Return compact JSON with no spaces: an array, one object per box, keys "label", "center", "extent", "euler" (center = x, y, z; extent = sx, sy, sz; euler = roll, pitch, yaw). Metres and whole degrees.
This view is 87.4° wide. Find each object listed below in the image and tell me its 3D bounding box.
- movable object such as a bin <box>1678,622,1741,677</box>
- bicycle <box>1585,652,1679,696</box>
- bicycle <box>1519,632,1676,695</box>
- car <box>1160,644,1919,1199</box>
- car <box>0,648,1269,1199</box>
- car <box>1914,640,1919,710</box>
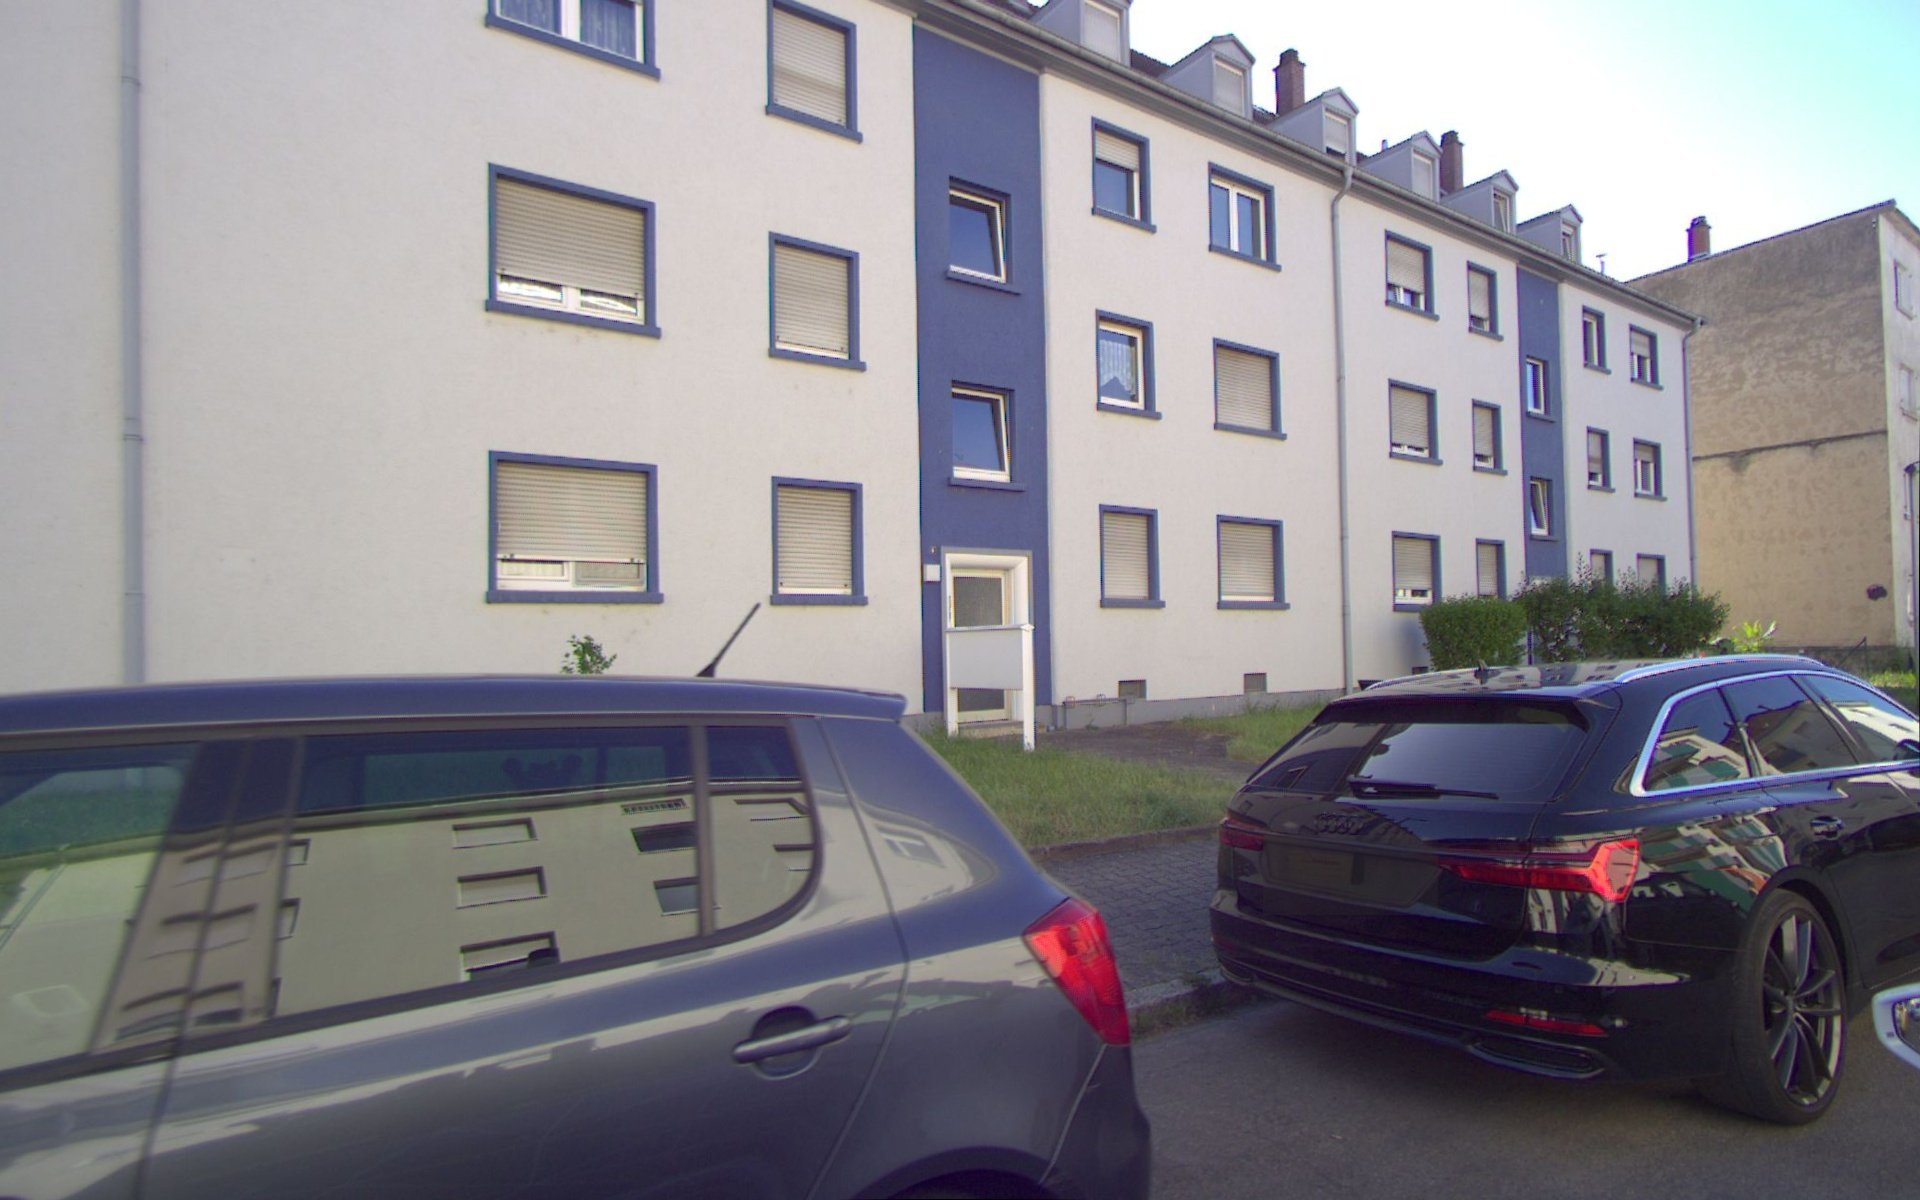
[{"label":"movable object such as a bin","center":[21.810,1.447,29.234],"extent":[1.345,1.559,1.060],"euler":[2,-5,-38]},{"label":"bicycle","center":[15.127,1.671,22.657],"extent":[0.542,0.948,1.638],"euler":[1,-5,-33]},{"label":"bicycle","center":[13.175,1.279,20.851],"extent":[0.767,1.145,2.645],"euler":[1,0,-41]},{"label":"car","center":[3.226,0.970,4.512],"extent":[4.545,1.449,1.736],"euler":[1,-6,-31]},{"label":"car","center":[-1.344,0.901,1.706],"extent":[3.586,1.495,1.474],"euler":[1,-7,-28]},{"label":"car","center":[11.894,1.126,10.790],"extent":[3.834,1.462,1.648],"euler":[2,-5,-36]}]
